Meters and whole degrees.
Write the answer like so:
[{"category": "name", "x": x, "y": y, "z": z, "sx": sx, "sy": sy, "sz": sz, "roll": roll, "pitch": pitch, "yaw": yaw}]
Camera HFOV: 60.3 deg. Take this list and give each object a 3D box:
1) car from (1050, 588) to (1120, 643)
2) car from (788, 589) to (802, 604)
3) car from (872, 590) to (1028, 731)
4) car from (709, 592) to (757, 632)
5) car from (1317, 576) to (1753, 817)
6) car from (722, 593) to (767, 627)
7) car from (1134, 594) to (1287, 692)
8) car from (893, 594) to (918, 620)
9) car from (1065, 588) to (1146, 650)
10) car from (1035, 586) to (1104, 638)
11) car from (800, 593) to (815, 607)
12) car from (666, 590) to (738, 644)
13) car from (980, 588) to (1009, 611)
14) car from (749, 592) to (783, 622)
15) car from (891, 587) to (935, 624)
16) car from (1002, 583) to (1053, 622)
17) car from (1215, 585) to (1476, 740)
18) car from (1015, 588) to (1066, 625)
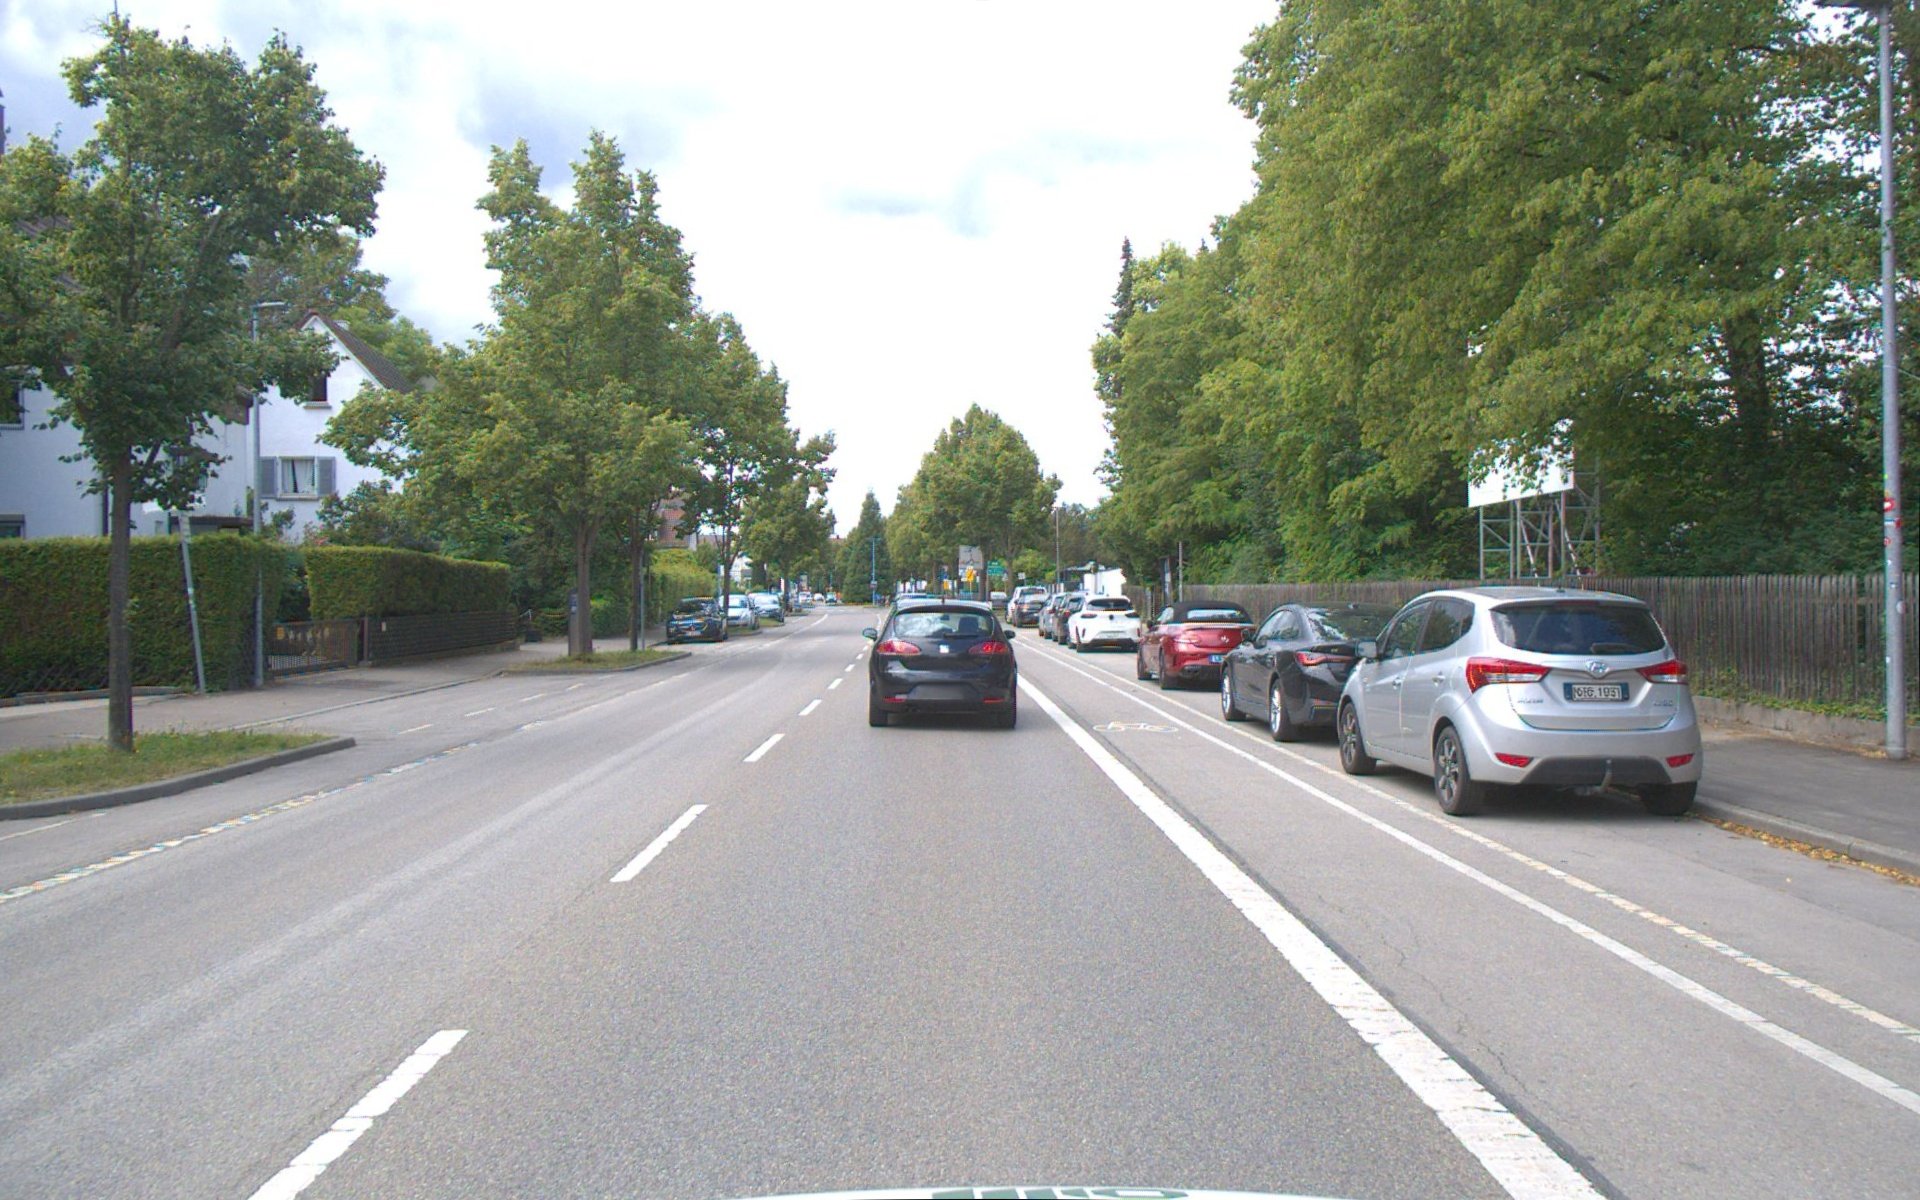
[{"category": "car", "x": 3.676, "y": 0.430, "z": 49.436, "sx": 1.667, "sy": 1.536, "sz": 4.537, "roll": 0, "pitch": 1, "yaw": -1}, {"category": "car", "x": -22.931, "y": -0.435, "z": 229.845, "sx": 1.991, "sy": 2.005, "sz": 3.995, "roll": -2, "pitch": 0, "yaw": -6}, {"category": "car", "x": -0.127, "y": 0.655, "z": 20.153, "sx": 1.697, "sy": 1.512, "sz": 3.999, "roll": 1, "pitch": 0, "yaw": -1}, {"category": "car", "x": -9.792, "y": 0.492, "z": 71.529, "sx": 1.684, "sy": 1.641, "sz": 3.907, "roll": -2, "pitch": 0, "yaw": -3}, {"category": "car", "x": 4.373, "y": 0.638, "z": 13.398, "sx": 1.825, "sy": 1.617, "sz": 4.419, "roll": 0, "pitch": 0, "yaw": -3}, {"category": "car", "x": -10.405, "y": 0.456, "z": 79.963, "sx": 1.955, "sy": 1.511, "sz": 4.884, "roll": -2, "pitch": 0, "yaw": -6}, {"category": "car", "x": 4.162, "y": 0.673, "z": 28.134, "sx": 1.821, "sy": 1.438, "sz": 4.442, "roll": 1, "pitch": 1, "yaw": -1}, {"category": "car", "x": -4.307, "y": 0.530, "z": 130.771, "sx": 1.953, "sy": 2.049, "sz": 3.998, "roll": -1, "pitch": 0, "yaw": -2}, {"category": "car", "x": 3.792, "y": 0.481, "z": 43.754, "sx": 1.732, "sy": 1.537, "sz": 4.030, "roll": -1, "pitch": 0, "yaw": -1}, {"category": "car", "x": 3.585, "y": 0.395, "z": 54.917, "sx": 1.824, "sy": 1.639, "sz": 4.684, "roll": 0, "pitch": 0, "yaw": -2}, {"category": "car", "x": -19.553, "y": -0.022, "z": 212.066, "sx": 1.762, "sy": 1.629, "sz": 3.997, "roll": -2, "pitch": 0, "yaw": -4}, {"category": "car", "x": -8.863, "y": 0.550, "z": 57.250, "sx": 2.054, "sy": 1.675, "sz": 5.034, "roll": -2, "pitch": 1, "yaw": -5}, {"category": "car", "x": 2.310, "y": -0.015, "z": 111.433, "sx": 1.579, "sy": 1.401, "sz": 4.384, "roll": -1, "pitch": -1, "yaw": -3}, {"category": "car", "x": -10.473, "y": 0.365, "z": 89.345, "sx": 1.644, "sy": 1.579, "sz": 4.268, "roll": -1, "pitch": 0, "yaw": -5}, {"category": "car", "x": -2.132, "y": 0.231, "z": 74.586, "sx": 1.953, "sy": 1.641, "sz": 3.998, "roll": -1, "pitch": 0, "yaw": -2}, {"category": "car", "x": 3.018, "y": 0.109, "z": 74.668, "sx": 1.863, "sy": 1.671, "sz": 4.114, "roll": -1, "pitch": 0, "yaw": -3}, {"category": "car", "x": 4.243, "y": 0.635, "z": 18.981, "sx": 1.779, "sy": 1.541, "sz": 4.678, "roll": 1, "pitch": 0, "yaw": -2}, {"category": "car", "x": 3.299, "y": 0.256, "z": 68.164, "sx": 1.825, "sy": 1.441, "sz": 4.602, "roll": 0, "pitch": 0, "yaw": -1}]
